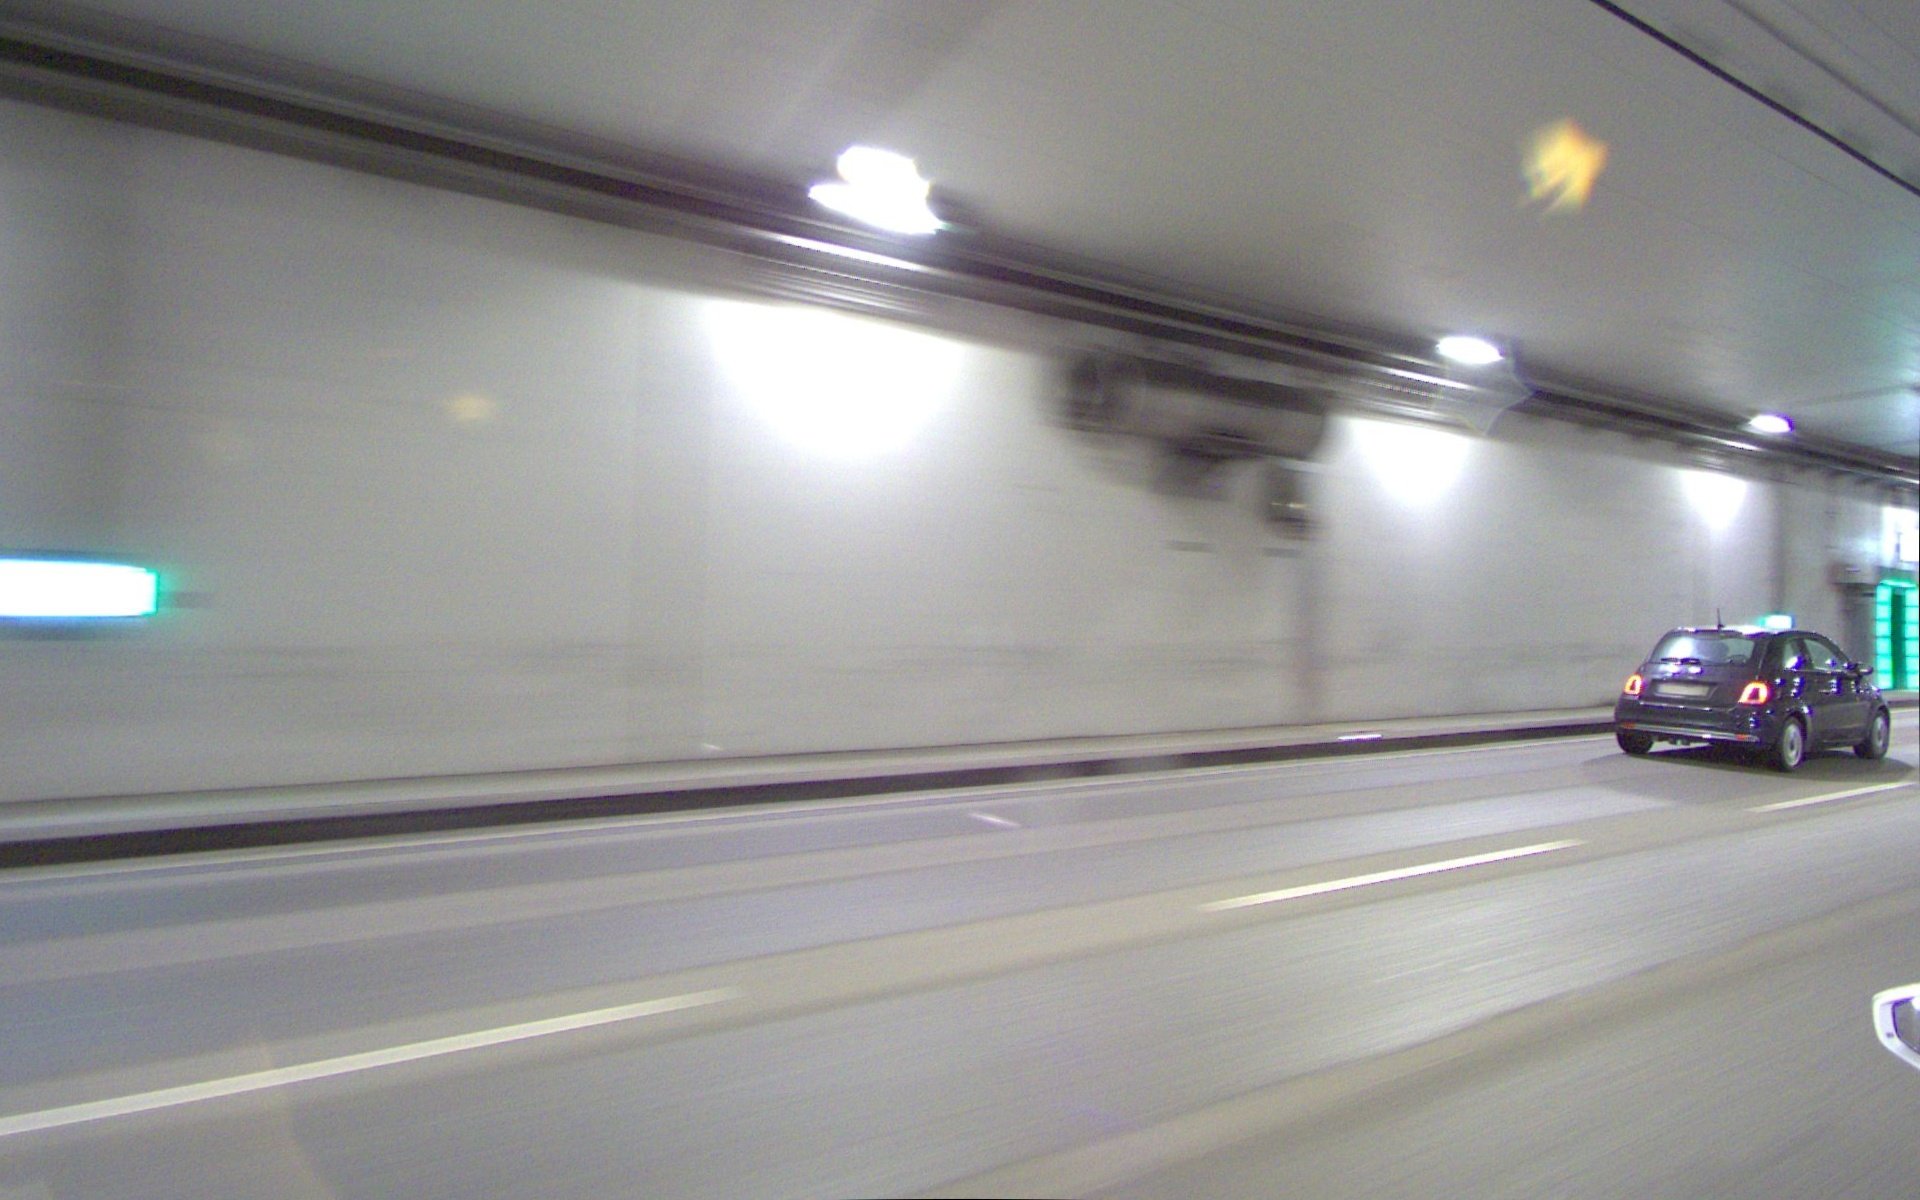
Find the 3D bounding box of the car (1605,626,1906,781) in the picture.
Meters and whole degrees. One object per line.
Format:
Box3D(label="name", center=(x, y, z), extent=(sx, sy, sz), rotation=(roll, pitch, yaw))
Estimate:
Box3D(label="car", center=(9.120, 1.071, 11.464), extent=(3.533, 1.474, 1.603), rotation=(1, 0, -32))
